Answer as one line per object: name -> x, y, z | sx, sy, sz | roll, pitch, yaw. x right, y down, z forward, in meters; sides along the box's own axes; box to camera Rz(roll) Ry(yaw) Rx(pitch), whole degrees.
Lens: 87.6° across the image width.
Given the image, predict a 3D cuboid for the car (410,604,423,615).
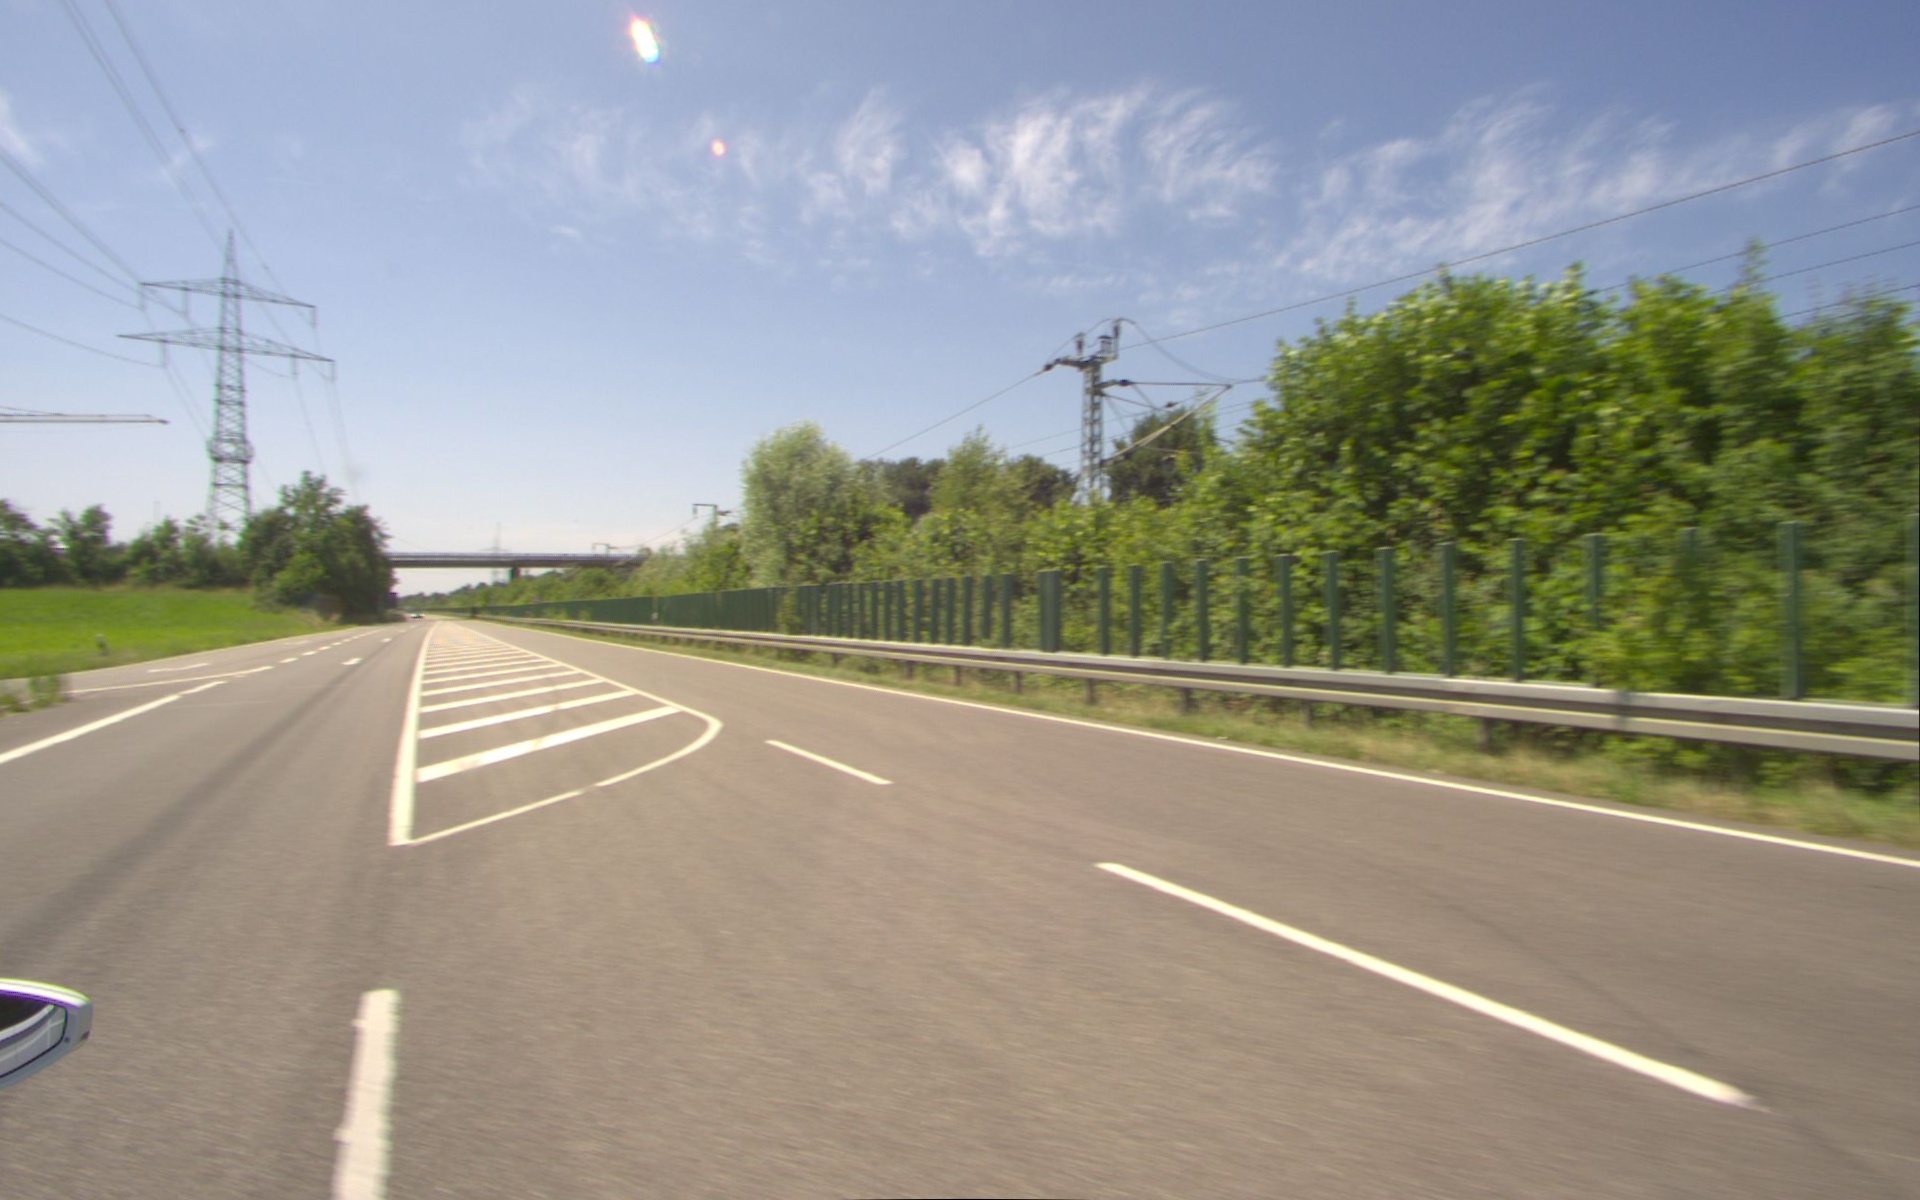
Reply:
car -> -97.489, 1.695, 179.481 | 1.971, 2.040, 3.980 | 1, -1, -29
